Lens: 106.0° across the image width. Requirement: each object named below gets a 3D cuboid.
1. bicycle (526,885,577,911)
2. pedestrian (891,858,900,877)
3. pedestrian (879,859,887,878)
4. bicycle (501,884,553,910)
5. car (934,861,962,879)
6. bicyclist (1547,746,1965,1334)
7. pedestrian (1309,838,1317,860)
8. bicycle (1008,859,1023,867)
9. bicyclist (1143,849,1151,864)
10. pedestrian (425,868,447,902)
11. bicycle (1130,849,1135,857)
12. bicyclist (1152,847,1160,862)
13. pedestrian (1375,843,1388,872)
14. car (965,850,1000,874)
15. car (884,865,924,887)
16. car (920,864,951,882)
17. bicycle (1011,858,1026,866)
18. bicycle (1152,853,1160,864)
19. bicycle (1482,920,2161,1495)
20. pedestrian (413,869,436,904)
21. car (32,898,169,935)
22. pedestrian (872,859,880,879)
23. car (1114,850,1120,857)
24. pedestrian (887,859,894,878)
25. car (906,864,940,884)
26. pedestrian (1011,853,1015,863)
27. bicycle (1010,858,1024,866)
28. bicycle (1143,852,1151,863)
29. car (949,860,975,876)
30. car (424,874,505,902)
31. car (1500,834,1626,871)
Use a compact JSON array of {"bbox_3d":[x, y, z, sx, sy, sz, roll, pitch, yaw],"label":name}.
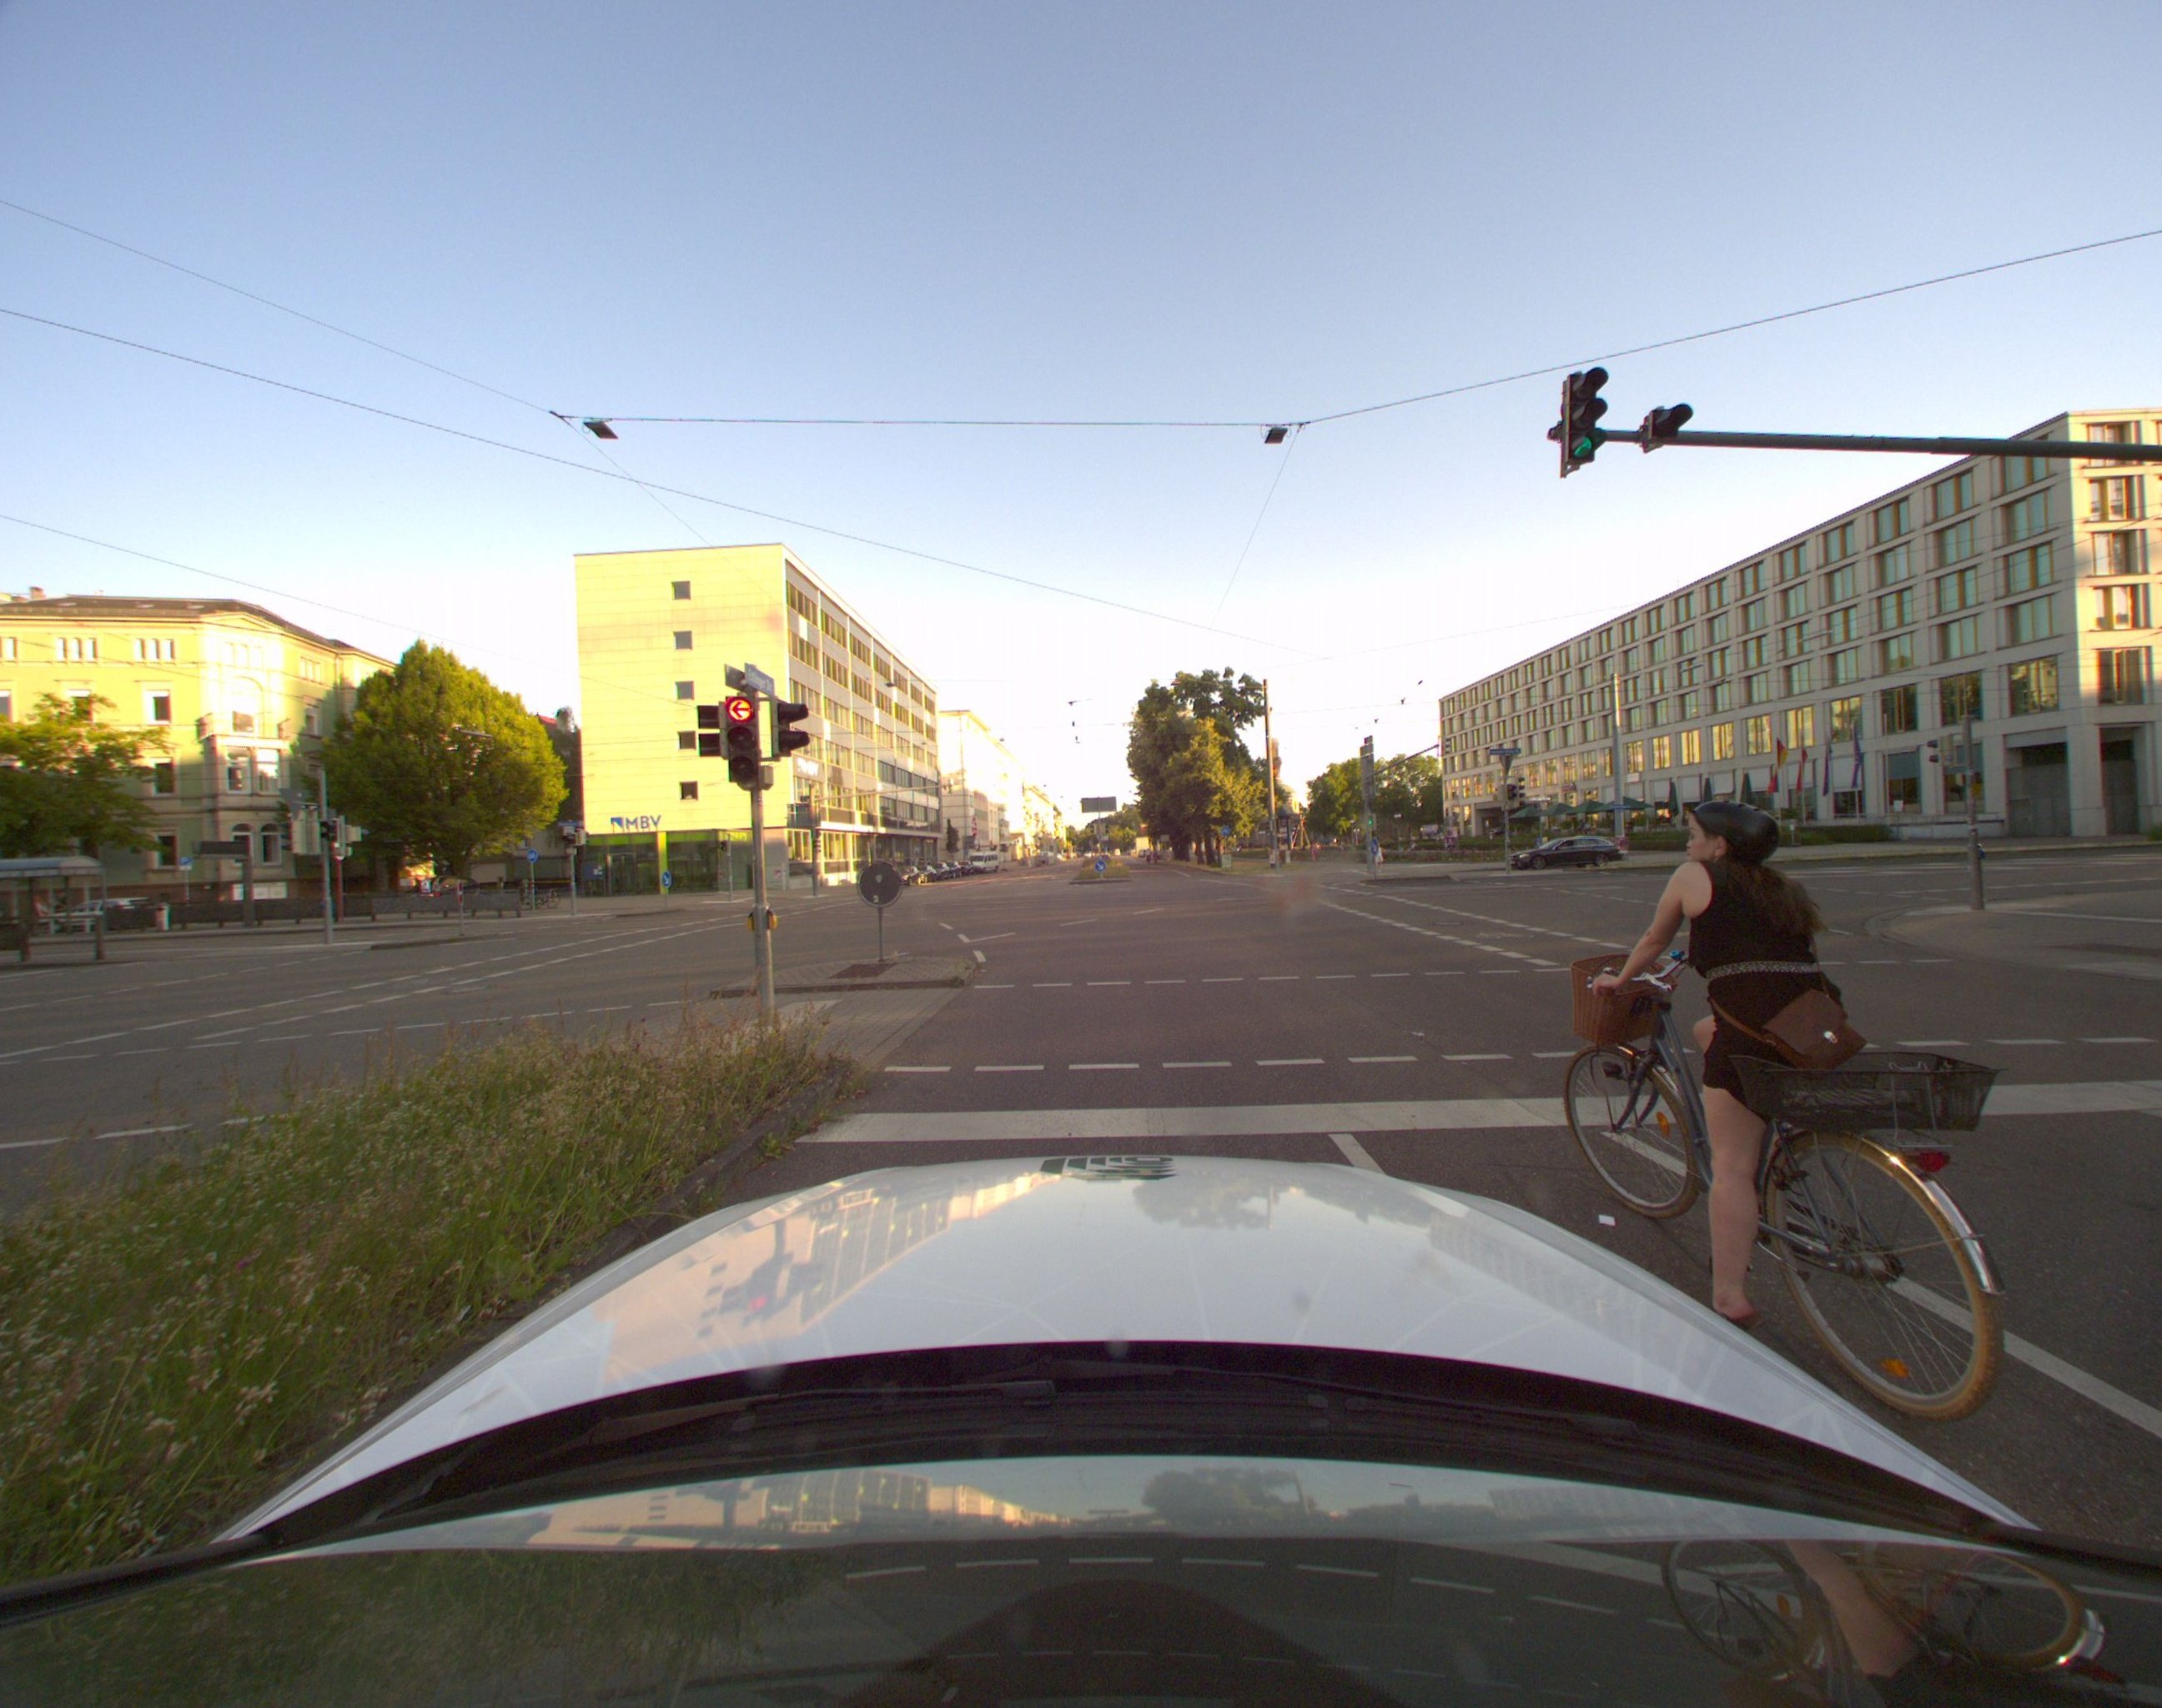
[{"bbox_3d":[-25.901,2.122,39.859,0.832,1.112,2.216,-3,0,6],"label":"bicycle"},{"bbox_3d":[-16.605,1.232,72.953,0.549,1.679,0.500,-3,0,1],"label":"pedestrian"},{"bbox_3d":[-17.868,1.329,73.582,0.549,1.679,0.500,-3,0,1],"label":"pedestrian"},{"bbox_3d":[-27.136,2.114,39.939,0.832,1.112,2.216,-3,0,6],"label":"bicycle"},{"bbox_3d":[-12.863,1.576,79.025,1.913,1.568,4.002,-3,0,2],"label":"car"},{"bbox_3d":[2.173,0.521,2.780,0.597,1.636,0.999,-1,0,2],"label":"bicyclist"},{"bbox_3d":[17.700,-0.411,62.136,0.458,1.656,0.567,-3,0,1],"label":"pedestrian"},{"bbox_3d":[-10.099,1.326,125.949,2.198,1.112,0.619,-3,0,0],"label":"bicycle"},{"bbox_3d":[7.464,0.282,92.361,0.744,1.663,0.873,-3,0,1],"label":"bicyclist"},{"bbox_3d":[-34.887,1.646,44.065,0.641,1.790,0.720,-3,0,-12],"label":"pedestrian"},{"bbox_3d":[13.054,-0.265,207.705,0.997,2.013,4.007,-3,0,6],"label":"bicycle"},{"bbox_3d":[8.527,0.026,92.610,0.744,1.691,0.799,-3,0,1],"label":"bicyclist"},{"bbox_3d":[15.869,0.189,42.993,0.489,1.540,0.408,-3,0,1],"label":"pedestrian"},{"bbox_3d":[-11.069,0.870,91.682,1.988,2.478,5.888,-3,0,12],"label":"car"},{"bbox_3d":[-13.517,1.661,62.413,1.913,1.464,4.105,-3,0,2],"label":"car"},{"bbox_3d":[-13.114,1.686,73.723,1.913,1.464,4.002,-3,0,2],"label":"car"},{"bbox_3d":[-9.959,1.260,129.333,2.198,1.236,0.839,-3,0,0],"label":"bicycle"},{"bbox_3d":[8.556,0.531,92.655,0.744,1.144,2.506,-3,0,2],"label":"bicycle"},{"bbox_3d":[2.178,0.885,2.849,0.609,1.132,2.005,-1,0,2],"label":"bicycle"},{"bbox_3d":[-34.876,1.726,43.281,0.641,1.790,0.720,-3,0,-12],"label":"pedestrian"},{"bbox_3d":[-45.255,2.845,37.665,3.588,1.372,1.833,-3,0,-15],"label":"car"},{"bbox_3d":[-18.311,1.339,72.748,0.549,1.679,0.500,-3,0,1],"label":"pedestrian"},{"bbox_3d":[9.243,-0.099,209.004,1.403,1.641,4.000,-3,0,1],"label":"car"},{"bbox_3d":[-17.195,1.311,73.535,0.498,1.679,0.500,-3,0,1],"label":"pedestrian"},{"bbox_3d":[-13.322,1.648,68.910,1.913,1.464,4.002,-3,0,2],"label":"car"},{"bbox_3d":[-13.862,0.754,165.469,0.677,2.013,0.545,-3,0,1],"label":"pedestrian"},{"bbox_3d":[-10.021,1.307,127.362,2.198,1.112,0.689,-3,0,0],"label":"bicycle"},{"bbox_3d":[7.483,0.406,92.639,0.744,1.144,2.506,-3,0,2],"label":"bicycle"},{"bbox_3d":[-12.395,1.449,85.247,1.913,1.568,4.002,-3,0,2],"label":"car"},{"bbox_3d":[-34.983,1.912,46.330,1.830,1.372,3.594,-3,0,0],"label":"car"},{"bbox_3d":[23.116,-0.087,39.215,4.803,1.515,2.002,-3,0,4],"label":"car"}]
